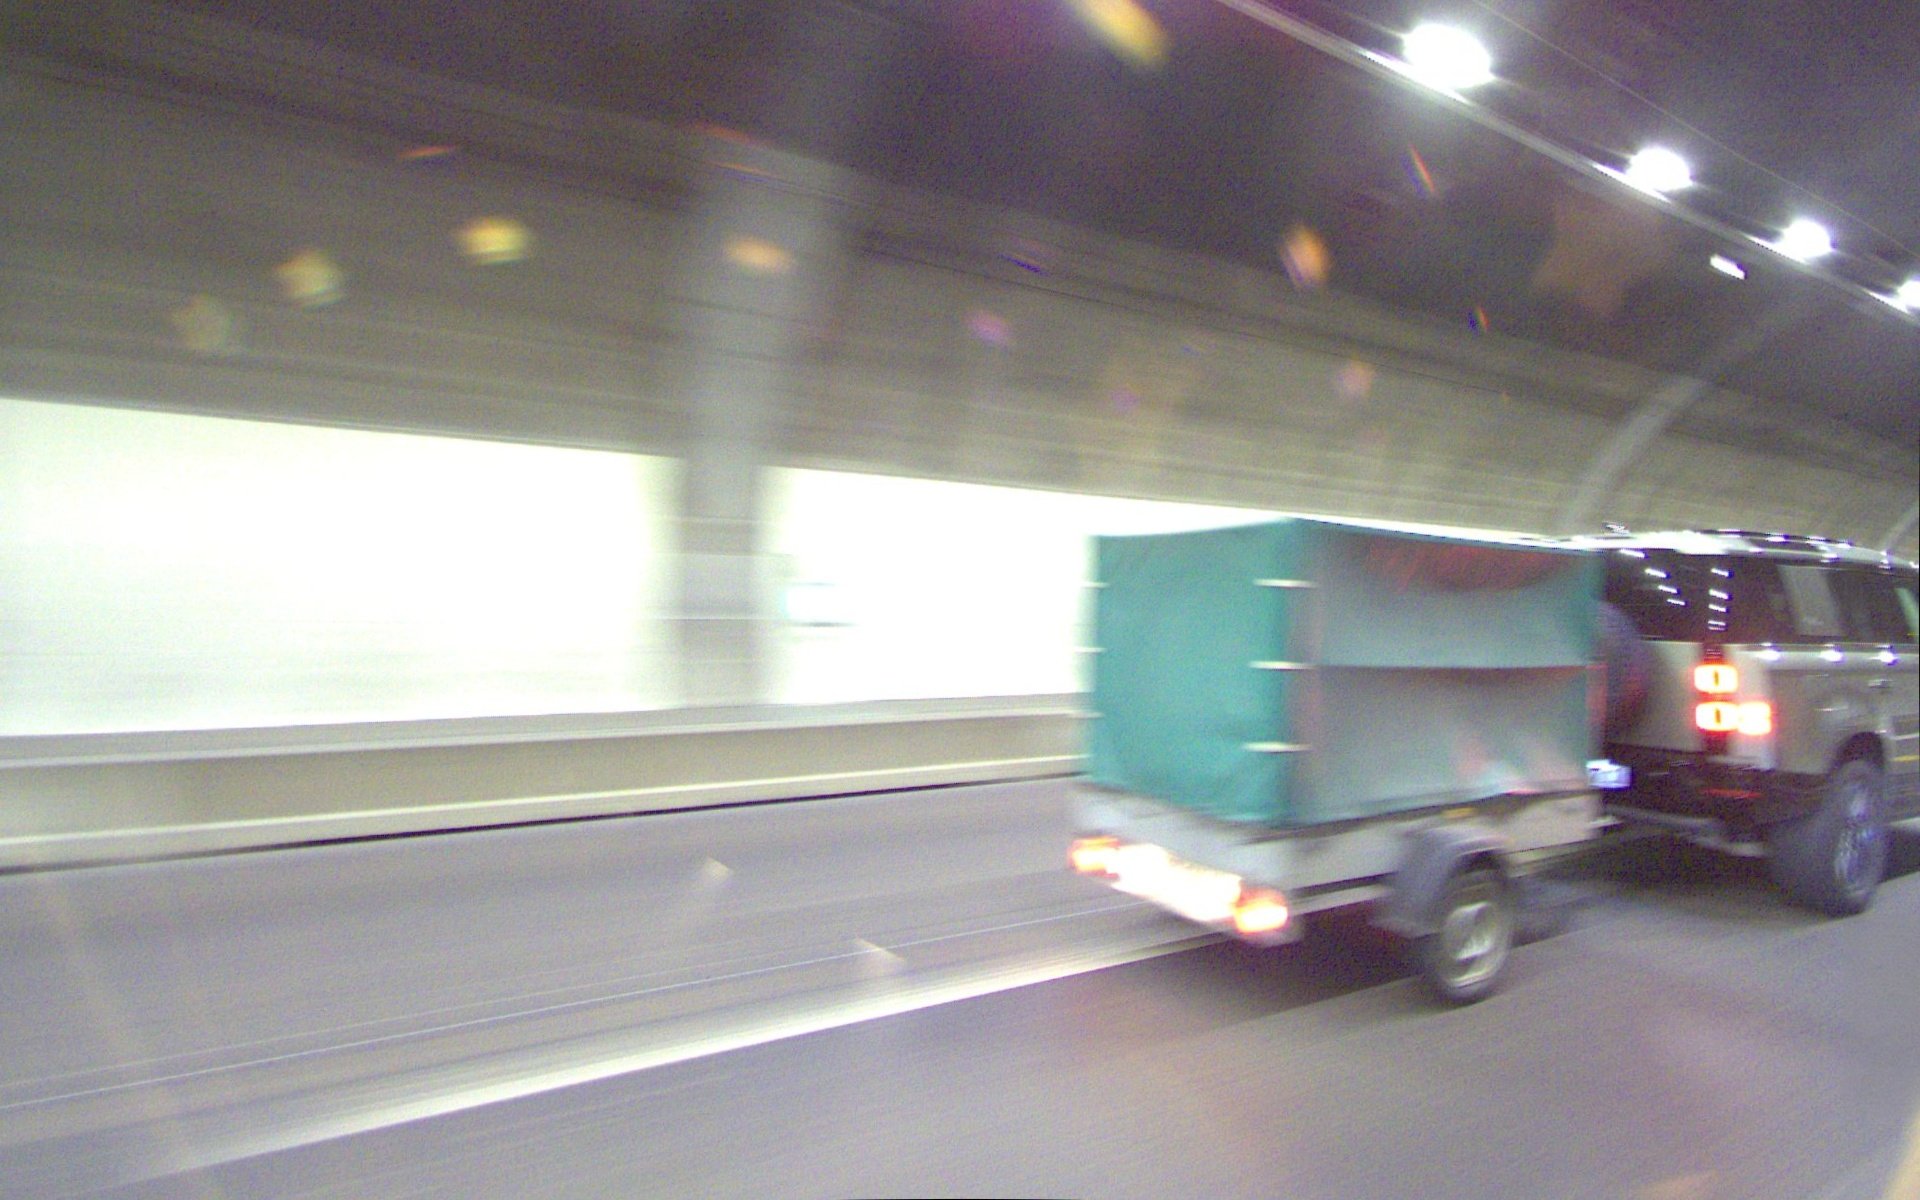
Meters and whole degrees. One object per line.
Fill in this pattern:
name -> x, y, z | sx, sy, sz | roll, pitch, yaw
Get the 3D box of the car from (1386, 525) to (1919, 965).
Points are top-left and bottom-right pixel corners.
car -> 5.406, 0.674, 6.628 | 5.390, 1.920, 1.984 | 1, 0, -31
